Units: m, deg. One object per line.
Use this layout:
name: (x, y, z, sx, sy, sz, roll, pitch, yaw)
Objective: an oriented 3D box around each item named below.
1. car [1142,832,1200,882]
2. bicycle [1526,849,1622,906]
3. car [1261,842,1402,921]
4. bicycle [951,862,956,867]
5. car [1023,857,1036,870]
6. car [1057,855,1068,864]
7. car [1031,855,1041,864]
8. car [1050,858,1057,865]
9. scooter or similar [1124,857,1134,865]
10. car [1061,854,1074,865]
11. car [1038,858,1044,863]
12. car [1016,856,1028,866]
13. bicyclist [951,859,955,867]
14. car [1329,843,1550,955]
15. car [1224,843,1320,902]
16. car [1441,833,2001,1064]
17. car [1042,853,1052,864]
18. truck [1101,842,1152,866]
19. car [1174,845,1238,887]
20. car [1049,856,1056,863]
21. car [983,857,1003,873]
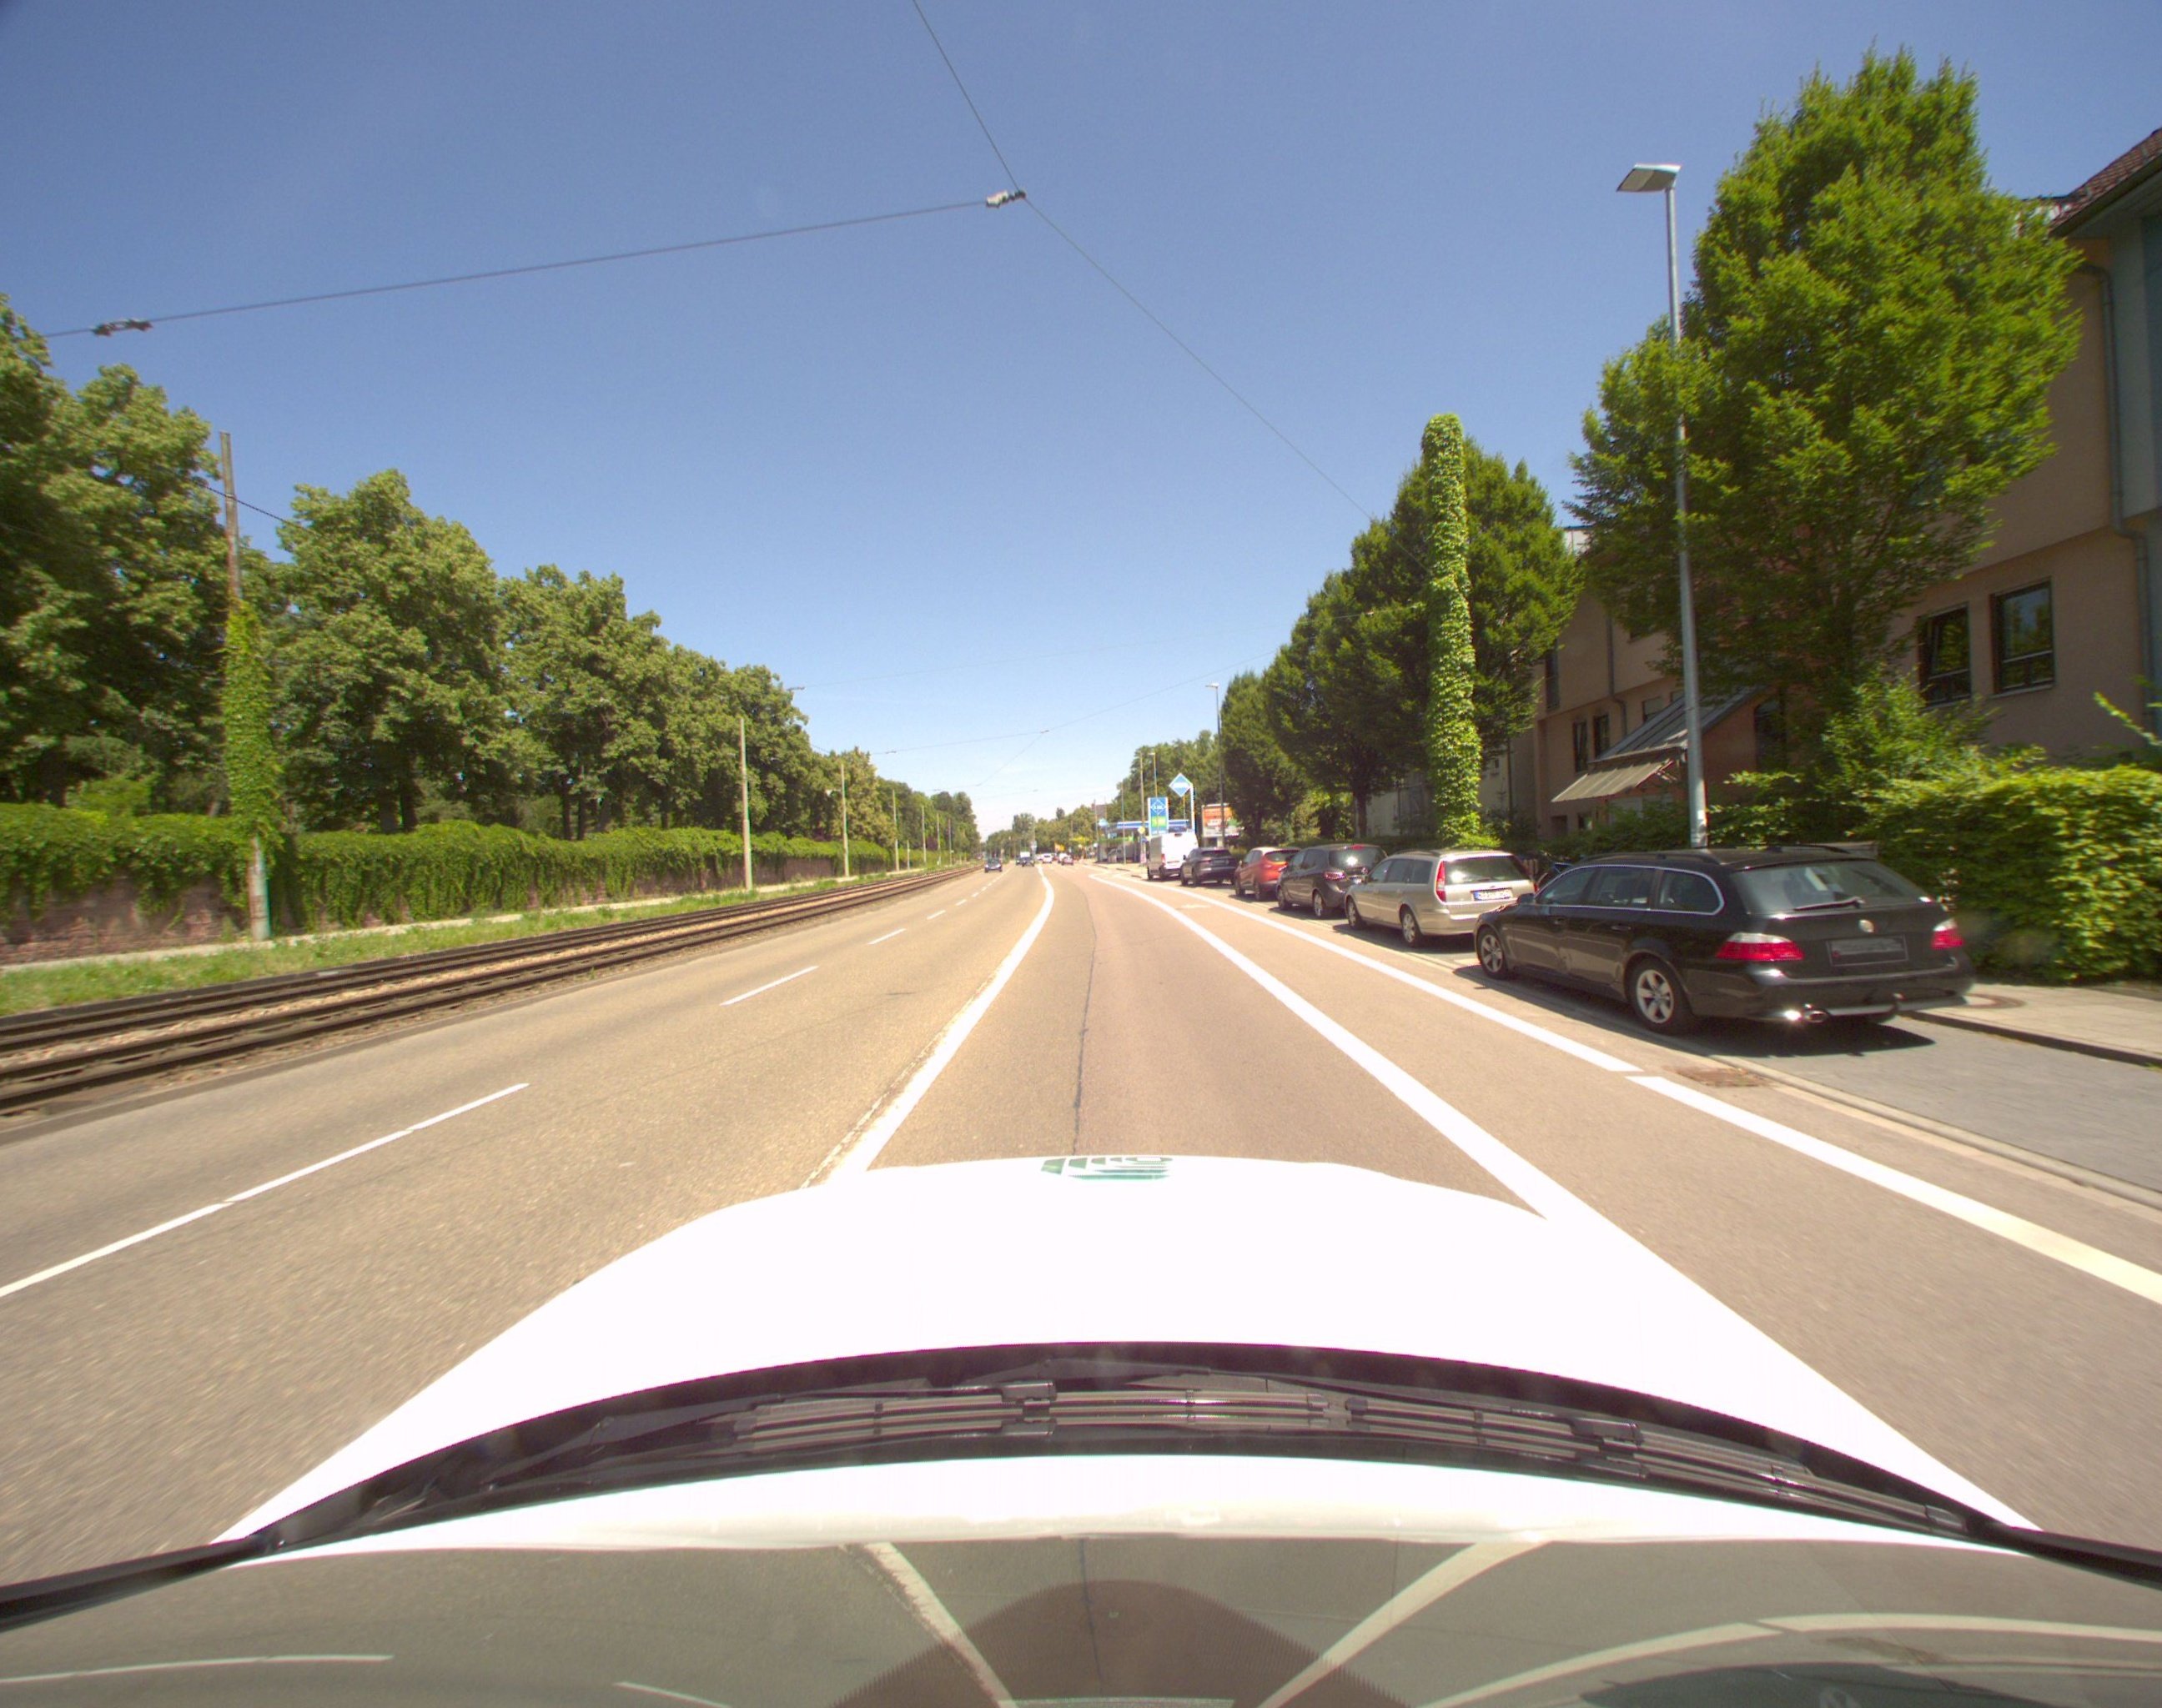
car: (4.931, 0.156, 45.633, 1.998, 2.457, 6.099, -4, 0, -5)
bicycle: (10.354, 0.497, 17.153, 1.636, 1.140, 0.516, -2, 0, 9)
car: (5.801, 0.594, 19.427, 1.703, 1.562, 4.318, -4, 0, -4)
bicycle: (-27.223, 2.215, 173.409, 0.679, 1.054, 2.007, -6, -1, -1)
car: (-7.519, 1.384, 118.836, 1.752, 1.630, 4.318, -4, 0, -4)
car: (-3.570, 1.073, 156.326, 1.752, 1.630, 4.318, -4, 0, -4)
car: (-8.464, 1.054, 152.715, 1.751, 1.630, 4.320, -4, 0, -2)
car: (-7.228, 2.005, 215.348, 1.752, 1.630, 4.318, -4, 0, -4)
scooter or similar: (7.964, 1.144, 133.772, 1.550, 1.328, 0.536, -2, 0, -6)
car: (-2.057, 0.859, 126.688, 1.752, 1.630, 4.318, -4, 0, -4)
car: (-12.472, 1.972, 254.089, 1.752, 1.630, 4.318, -4, 0, -4)
car: (-10.576, 1.209, 145.755, 1.755, 1.630, 4.310, -4, 0, -9)
bicyclist: (-27.257, 1.892, 173.423, 0.680, 1.574, 0.795, -6, -1, -2)
car: (5.875, 0.645, 14.075, 1.701, 1.492, 4.731, -4, 0, 1)
car: (5.826, 0.527, 25.369, 1.703, 1.562, 4.320, -4, 0, -2)
car: (5.575, 0.653, 8.203, 1.701, 1.492, 5.040, -4, 0, 1)
car: (-6.502, 0.816, 155.165, 1.752, 1.875, 4.318, -4, 0, -4)
truck: (7.303, 0.034, 129.786, 7.937, 3.602, 2.664, -2, 0, 2)
car: (5.368, 0.499, 35.431, 1.752, 1.630, 4.318, -4, 0, -4)
car: (-8.244, 1.574, 232.124, 1.752, 1.630, 4.318, -4, 0, -4)
car: (-9.113, 1.093, 84.742, 1.752, 1.509, 4.318, -4, 0, -4)
